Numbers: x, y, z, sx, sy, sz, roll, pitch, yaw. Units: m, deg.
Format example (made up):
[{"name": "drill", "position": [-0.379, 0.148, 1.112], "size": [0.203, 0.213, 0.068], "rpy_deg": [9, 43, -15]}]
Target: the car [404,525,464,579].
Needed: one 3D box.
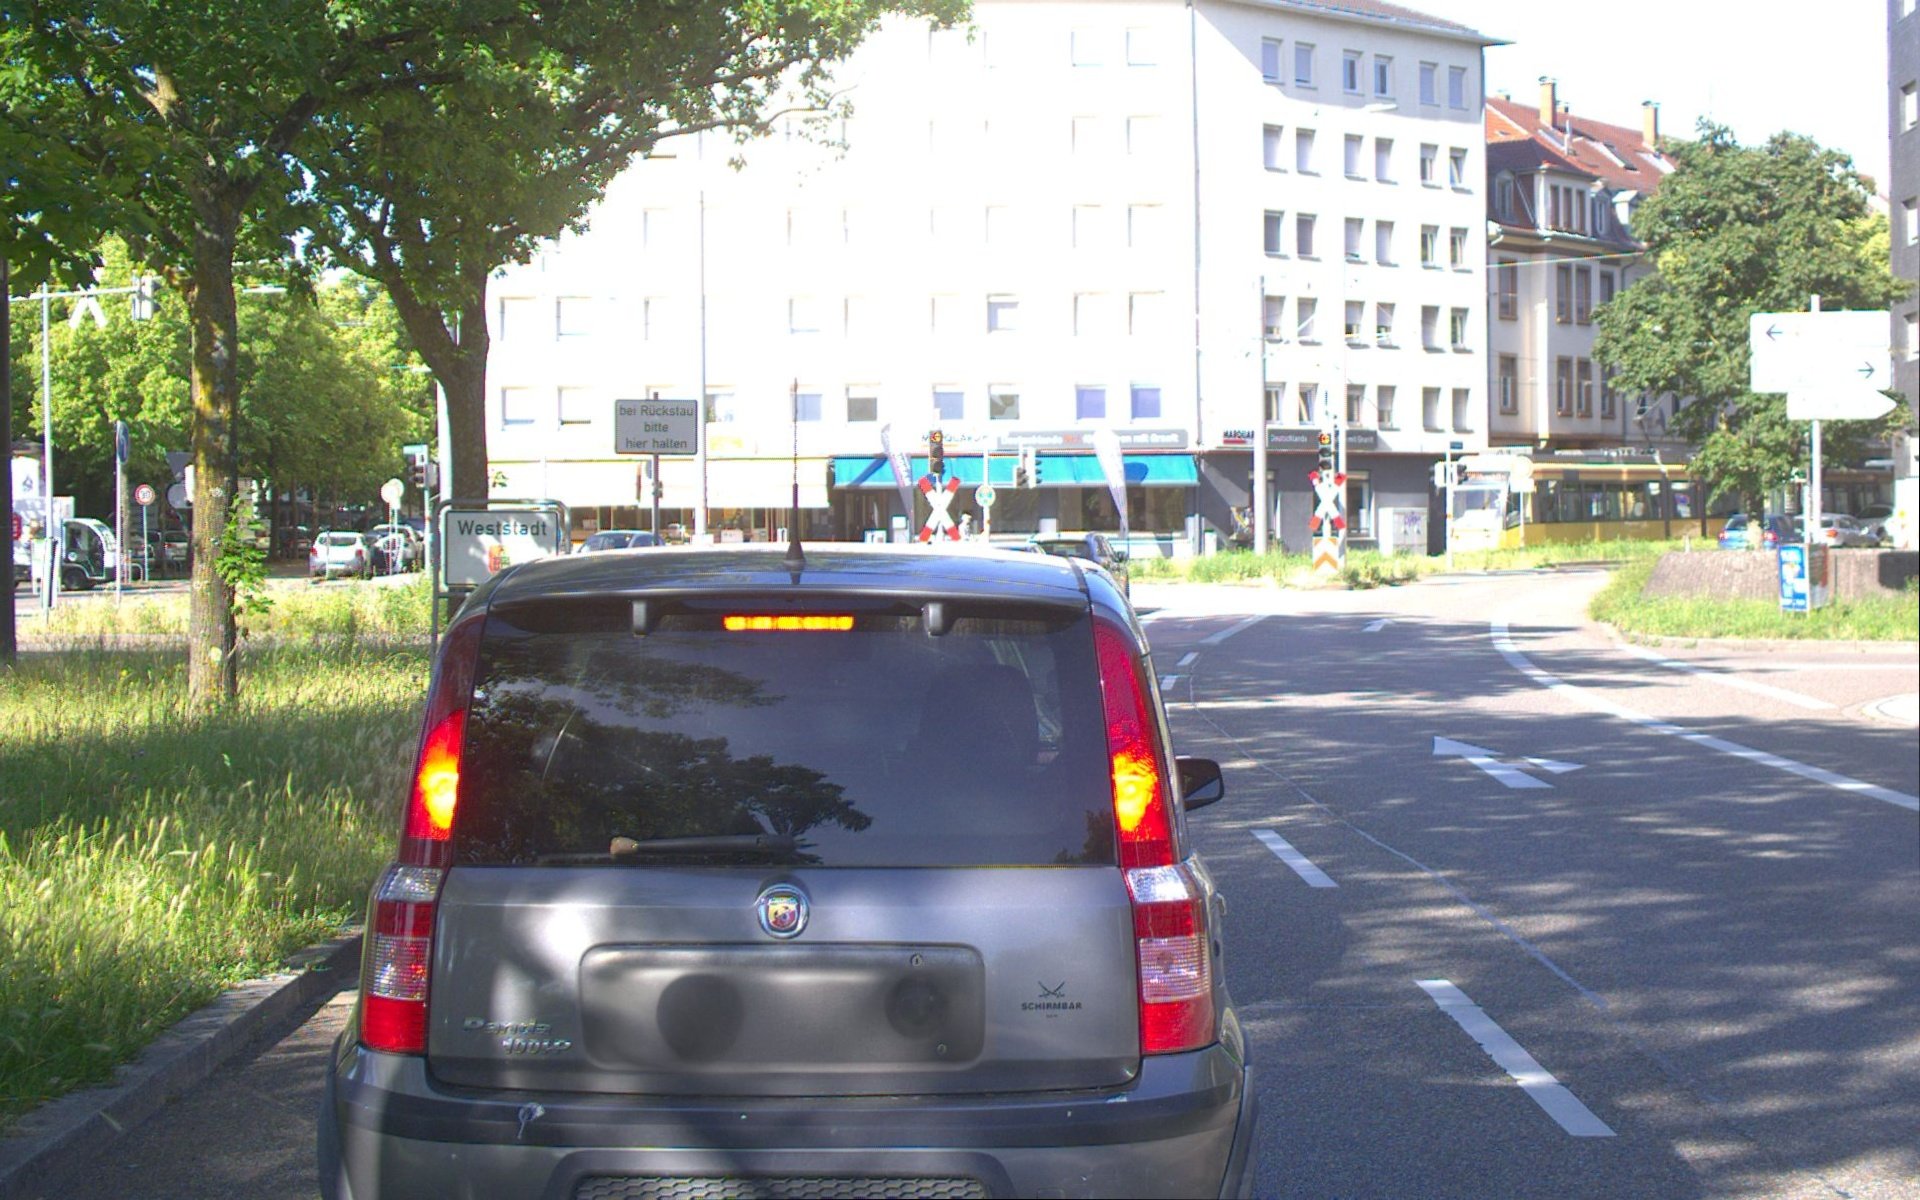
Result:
[{"name": "car", "position": [-20.369, -1.872, 133.302], "size": [1.993, 2.007, 4.001], "rpy_deg": [-1, 1, -4]}]

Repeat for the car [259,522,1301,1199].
[{"name": "car", "position": [-0.301, 0.596, 7.418], "size": [1.628, 1.503, 4.000], "rpy_deg": [-1, 1, -1]}]

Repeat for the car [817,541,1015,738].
[{"name": "car", "position": [-0.349, 0.266, 27.306], "size": [1.463, 1.420, 3.381], "rpy_deg": [0, 2, -1]}]

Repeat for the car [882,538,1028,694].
[{"name": "car", "position": [-0.063, 0.122, 33.862], "size": [1.356, 1.444, 3.266], "rpy_deg": [-1, 1, -1]}]

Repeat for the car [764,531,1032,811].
[{"name": "car", "position": [-0.362, 0.354, 20.679], "size": [1.463, 1.503, 3.505], "rpy_deg": [0, 2, -1]}]

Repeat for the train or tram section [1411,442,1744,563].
[{"name": "train or tram section", "position": [19.827, -3.079, 108.367], "size": [3.301, 3.501, 19.350], "rpy_deg": [0, 2, 32]}]

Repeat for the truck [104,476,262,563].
[{"name": "truck", "position": [-28.885, -2.988, 127.773], "size": [5.485, 3.158, 2.340], "rpy_deg": [0, 1, 28]}]

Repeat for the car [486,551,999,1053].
[{"name": "car", "position": [-0.644, 0.559, 11.602], "size": [1.463, 1.396, 3.393], "rpy_deg": [0, 1, -1]}]

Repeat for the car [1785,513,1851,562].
[{"name": "car", "position": [23.446, -1.717, 93.882], "size": [1.528, 1.310, 3.285], "rpy_deg": [0, 2, 18]}]

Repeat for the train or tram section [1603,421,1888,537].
[{"name": "train or tram section", "position": [28.112, -4.232, 121.605], "size": [3.301, 3.757, 20.773], "rpy_deg": [0, 2, 32]}]

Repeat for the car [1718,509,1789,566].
[{"name": "car", "position": [20.877, -1.659, 90.390], "size": [1.683, 1.444, 3.569], "rpy_deg": [0, 1, 15]}]

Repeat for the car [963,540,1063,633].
[{"name": "car", "position": [0.746, -0.212, 49.595], "size": [1.356, 1.277, 2.876], "rpy_deg": [0, 1, -1]}]

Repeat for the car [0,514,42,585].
[{"name": "car", "position": [-28.543, -1.425, 98.147], "size": [4.176, 2.007, 1.932], "rpy_deg": [-1, 1, -2]}]

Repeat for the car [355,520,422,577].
[{"name": "car", "position": [-20.520, -1.864, 123.582], "size": [1.993, 2.007, 4.001], "rpy_deg": [-1, 1, -4]}]

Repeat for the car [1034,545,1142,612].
[{"name": "car", "position": [2.168, -0.370, 57.669], "size": [1.143, 1.060, 2.719], "rpy_deg": [0, 1, 17]}]
